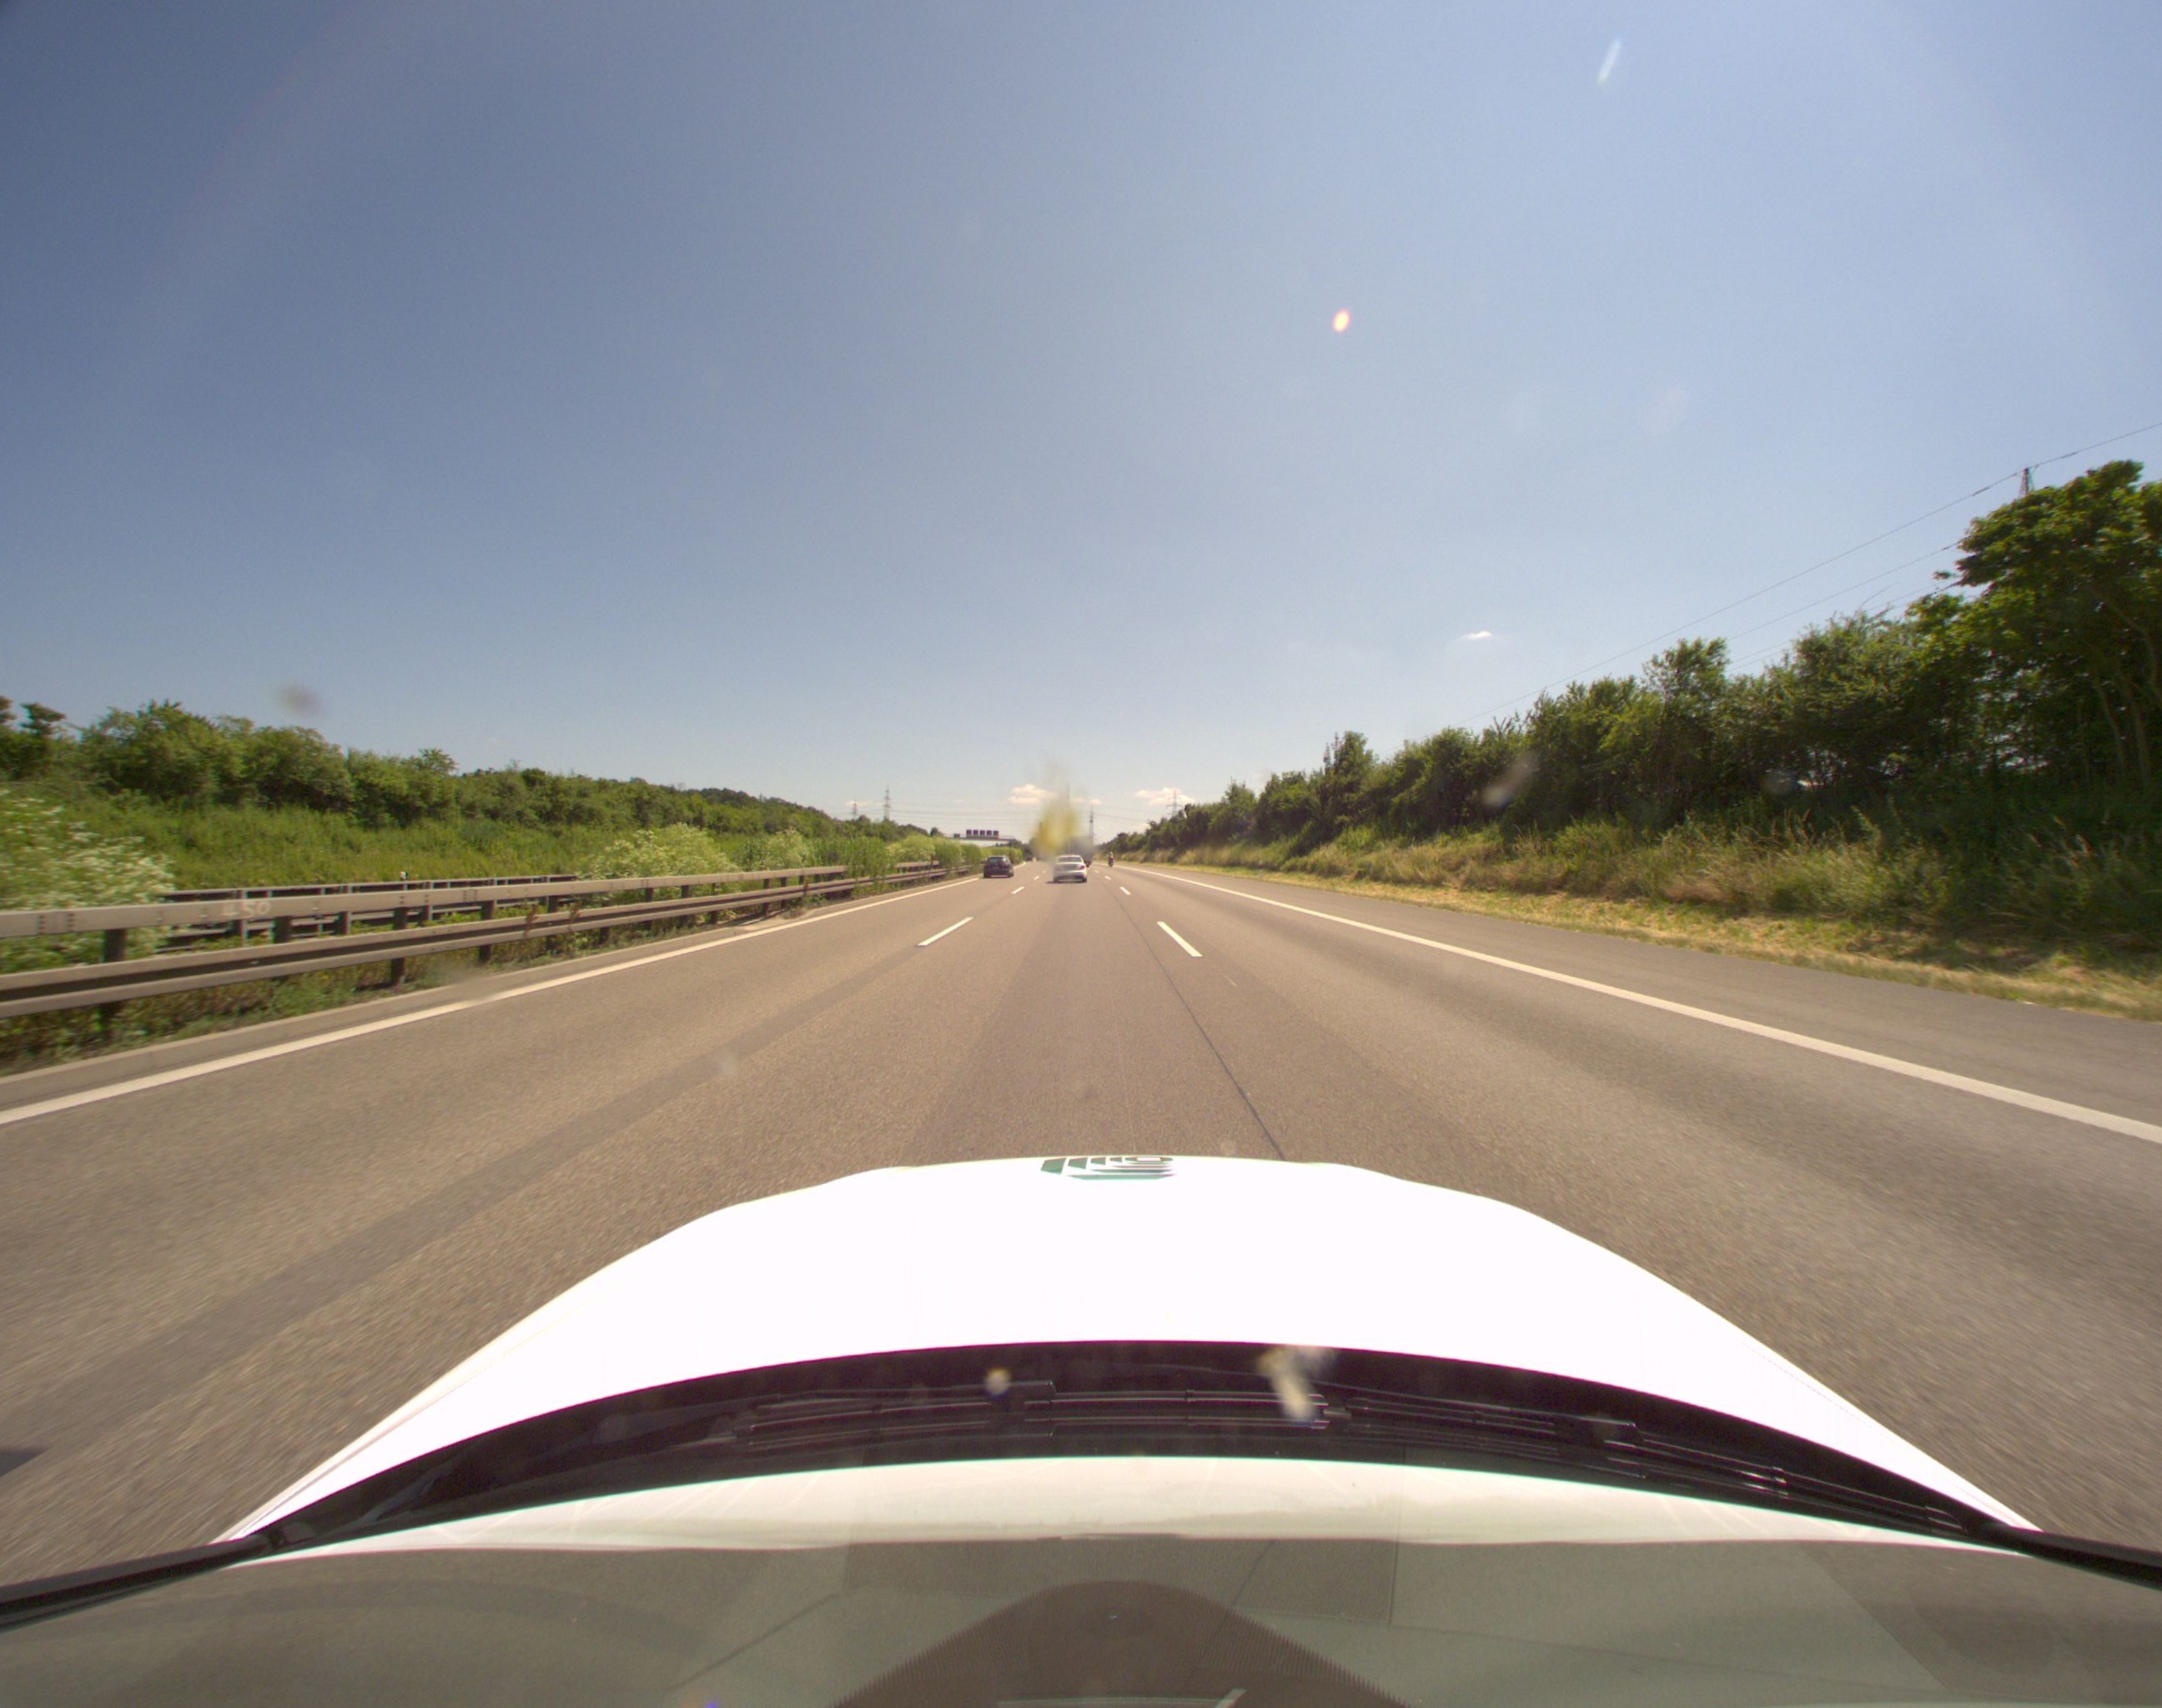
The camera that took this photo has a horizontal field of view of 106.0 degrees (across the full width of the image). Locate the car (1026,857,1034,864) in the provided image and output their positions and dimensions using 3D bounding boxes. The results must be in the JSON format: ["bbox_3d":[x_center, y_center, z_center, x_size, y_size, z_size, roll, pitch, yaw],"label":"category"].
[{"bbox_3d":[-13.478,1.678,215.476,1.990,1.860,3.993,-1,0,-5],"label":"car"}]

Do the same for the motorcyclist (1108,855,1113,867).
[{"bbox_3d":[3.515,0.813,96.089,0.570,1.479,0.701,-1,0,2],"label":"motorcyclist"}]

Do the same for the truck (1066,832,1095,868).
[{"bbox_3d":[-0.048,-0.439,94.328,3.211,3.924,9.058,-1,0,0],"label":"truck"}]

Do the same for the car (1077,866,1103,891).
[{"bbox_3d":[0.796,2.166,73.197,1.990,2.013,3.994,-1,0,-4],"label":"car"}]

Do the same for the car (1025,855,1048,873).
[{"bbox_3d":[-3.994,0.868,73.036,1.833,1.540,3.913,-1,0,-1],"label":"car"}]

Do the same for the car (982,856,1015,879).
[{"bbox_3d":[-5.443,0.861,54.213,1.751,1.429,3.999,-1,0,0],"label":"car"}]

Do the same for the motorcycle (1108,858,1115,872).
[{"bbox_3d":[3.575,1.333,96.088,0.806,1.607,1.783,-1,-1,2],"label":"motorcycle"}]

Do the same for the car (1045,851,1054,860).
[{"bbox_3d":[-6.881,0.343,177.126,1.897,1.925,3.996,-1,0,-3],"label":"car"}]

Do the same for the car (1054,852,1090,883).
[{"bbox_3d":[-0.490,0.690,43.369,1.814,1.540,3.913,-1,0,-1],"label":"car"}]

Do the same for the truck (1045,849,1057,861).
[{"bbox_3d":[-9.671,0.275,261.276,3.477,3.912,7.280,-1,0,-3],"label":"truck"}]
